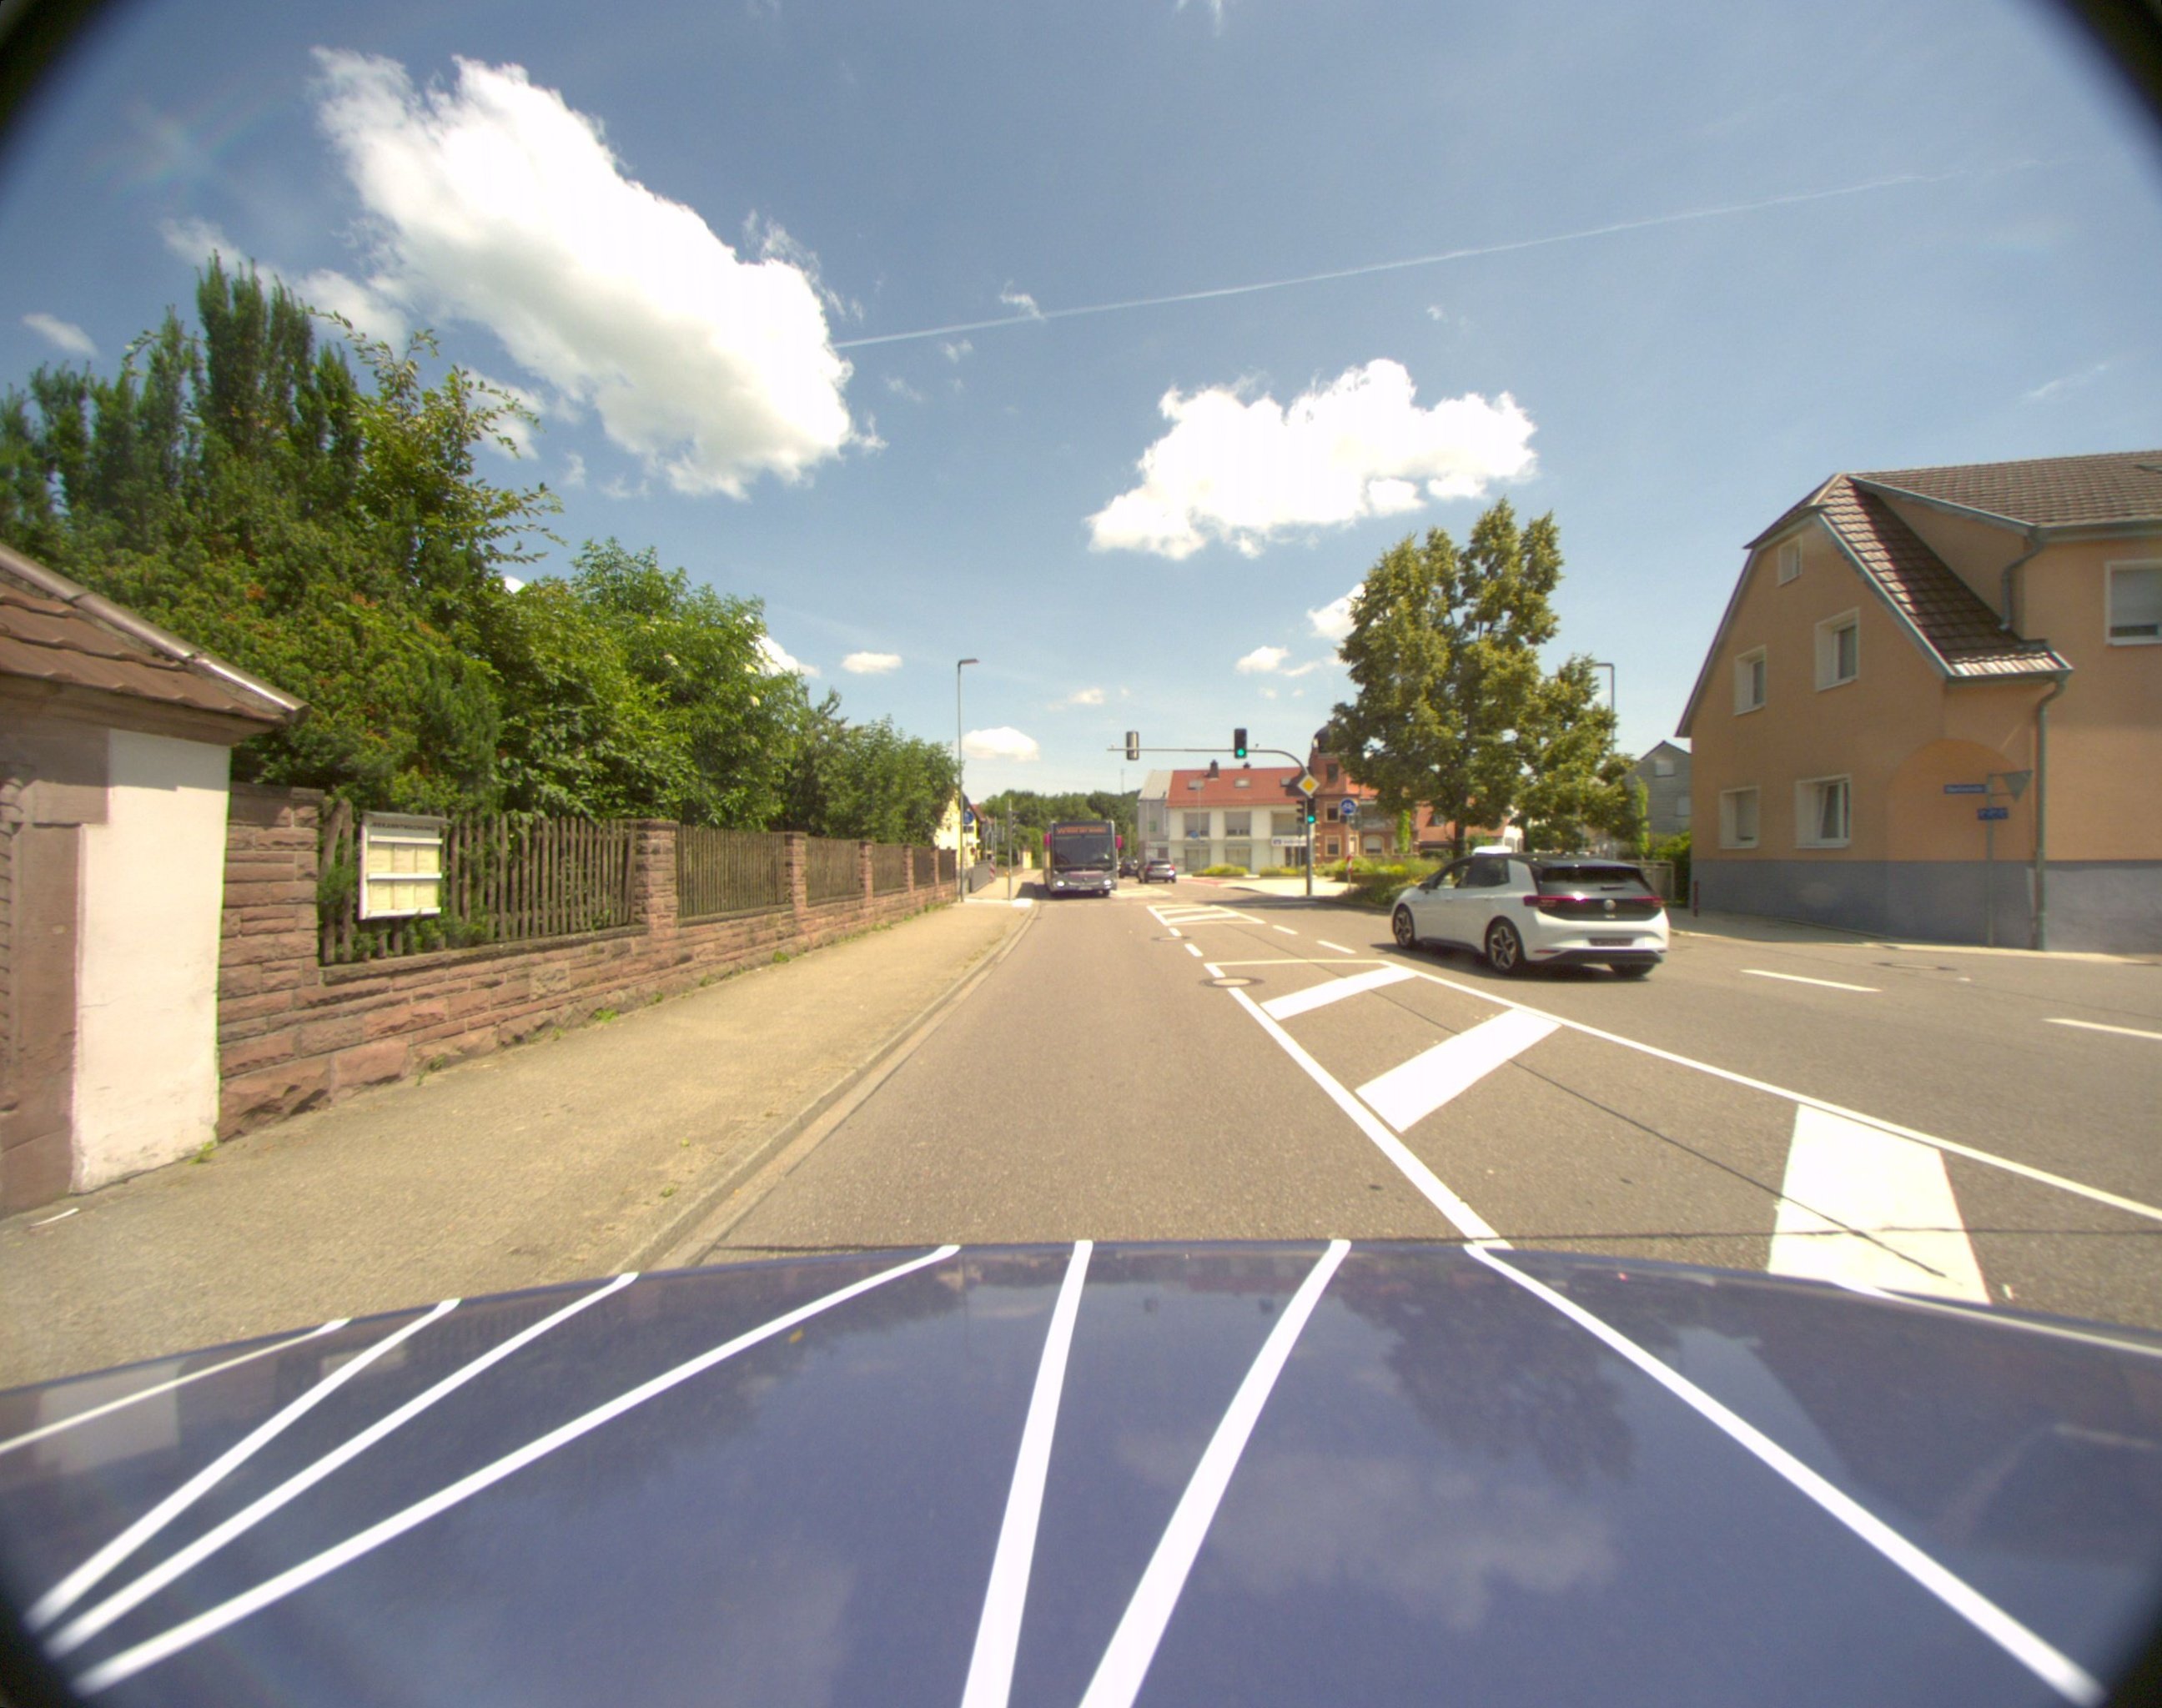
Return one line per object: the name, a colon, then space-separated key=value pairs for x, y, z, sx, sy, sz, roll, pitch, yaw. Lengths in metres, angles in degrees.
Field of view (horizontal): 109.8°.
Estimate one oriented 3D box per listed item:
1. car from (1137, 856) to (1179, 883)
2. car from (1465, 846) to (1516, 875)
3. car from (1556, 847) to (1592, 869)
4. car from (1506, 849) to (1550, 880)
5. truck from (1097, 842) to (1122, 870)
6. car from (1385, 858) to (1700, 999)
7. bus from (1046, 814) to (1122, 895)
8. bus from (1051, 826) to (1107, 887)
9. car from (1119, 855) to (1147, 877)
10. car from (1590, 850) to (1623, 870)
car: x=4.479 y=0.883 z=44.743 sx=1.868 sy=1.434 sz=4.215 roll=0 pitch=1 yaw=-3
car: x=34.936 y=0.547 z=64.782 sx=5.122 sy=2.332 sz=2.167 roll=0 pitch=1 yaw=-41
car: x=56.401 y=0.443 z=86.880 sx=5.122 sy=2.332 sz=2.167 roll=0 pitch=1 yaw=-41
car: x=30.626 y=0.699 z=51.993 sx=1.994 sy=2.002 sz=4.009 roll=0 pitch=0 yaw=40
truck: x=3.266 y=0.176 z=89.004 sx=2.509 sy=3.216 sz=6.038 roll=0 pitch=1 yaw=-2
car: x=5.970 y=0.844 z=10.533 sx=1.800 sy=1.499 sz=4.133 roll=0 pitch=1 yaw=-1
bus: x=-0.024 y=0.177 z=32.678 sx=2.756 sy=2.949 sz=9.282 roll=1 pitch=-2 yaw=-2
bus: x=-0.247 y=0.265 z=42.016 sx=2.756 sy=2.949 sz=9.282 roll=1 pitch=-2 yaw=-2
car: x=4.054 y=0.917 z=60.210 sx=1.744 sy=1.641 sz=3.667 roll=-1 pitch=0 yaw=-4
car: x=46.543 y=0.528 z=67.281 sx=2.063 sy=1.718 sz=4.009 roll=1 pitch=1 yaw=39
